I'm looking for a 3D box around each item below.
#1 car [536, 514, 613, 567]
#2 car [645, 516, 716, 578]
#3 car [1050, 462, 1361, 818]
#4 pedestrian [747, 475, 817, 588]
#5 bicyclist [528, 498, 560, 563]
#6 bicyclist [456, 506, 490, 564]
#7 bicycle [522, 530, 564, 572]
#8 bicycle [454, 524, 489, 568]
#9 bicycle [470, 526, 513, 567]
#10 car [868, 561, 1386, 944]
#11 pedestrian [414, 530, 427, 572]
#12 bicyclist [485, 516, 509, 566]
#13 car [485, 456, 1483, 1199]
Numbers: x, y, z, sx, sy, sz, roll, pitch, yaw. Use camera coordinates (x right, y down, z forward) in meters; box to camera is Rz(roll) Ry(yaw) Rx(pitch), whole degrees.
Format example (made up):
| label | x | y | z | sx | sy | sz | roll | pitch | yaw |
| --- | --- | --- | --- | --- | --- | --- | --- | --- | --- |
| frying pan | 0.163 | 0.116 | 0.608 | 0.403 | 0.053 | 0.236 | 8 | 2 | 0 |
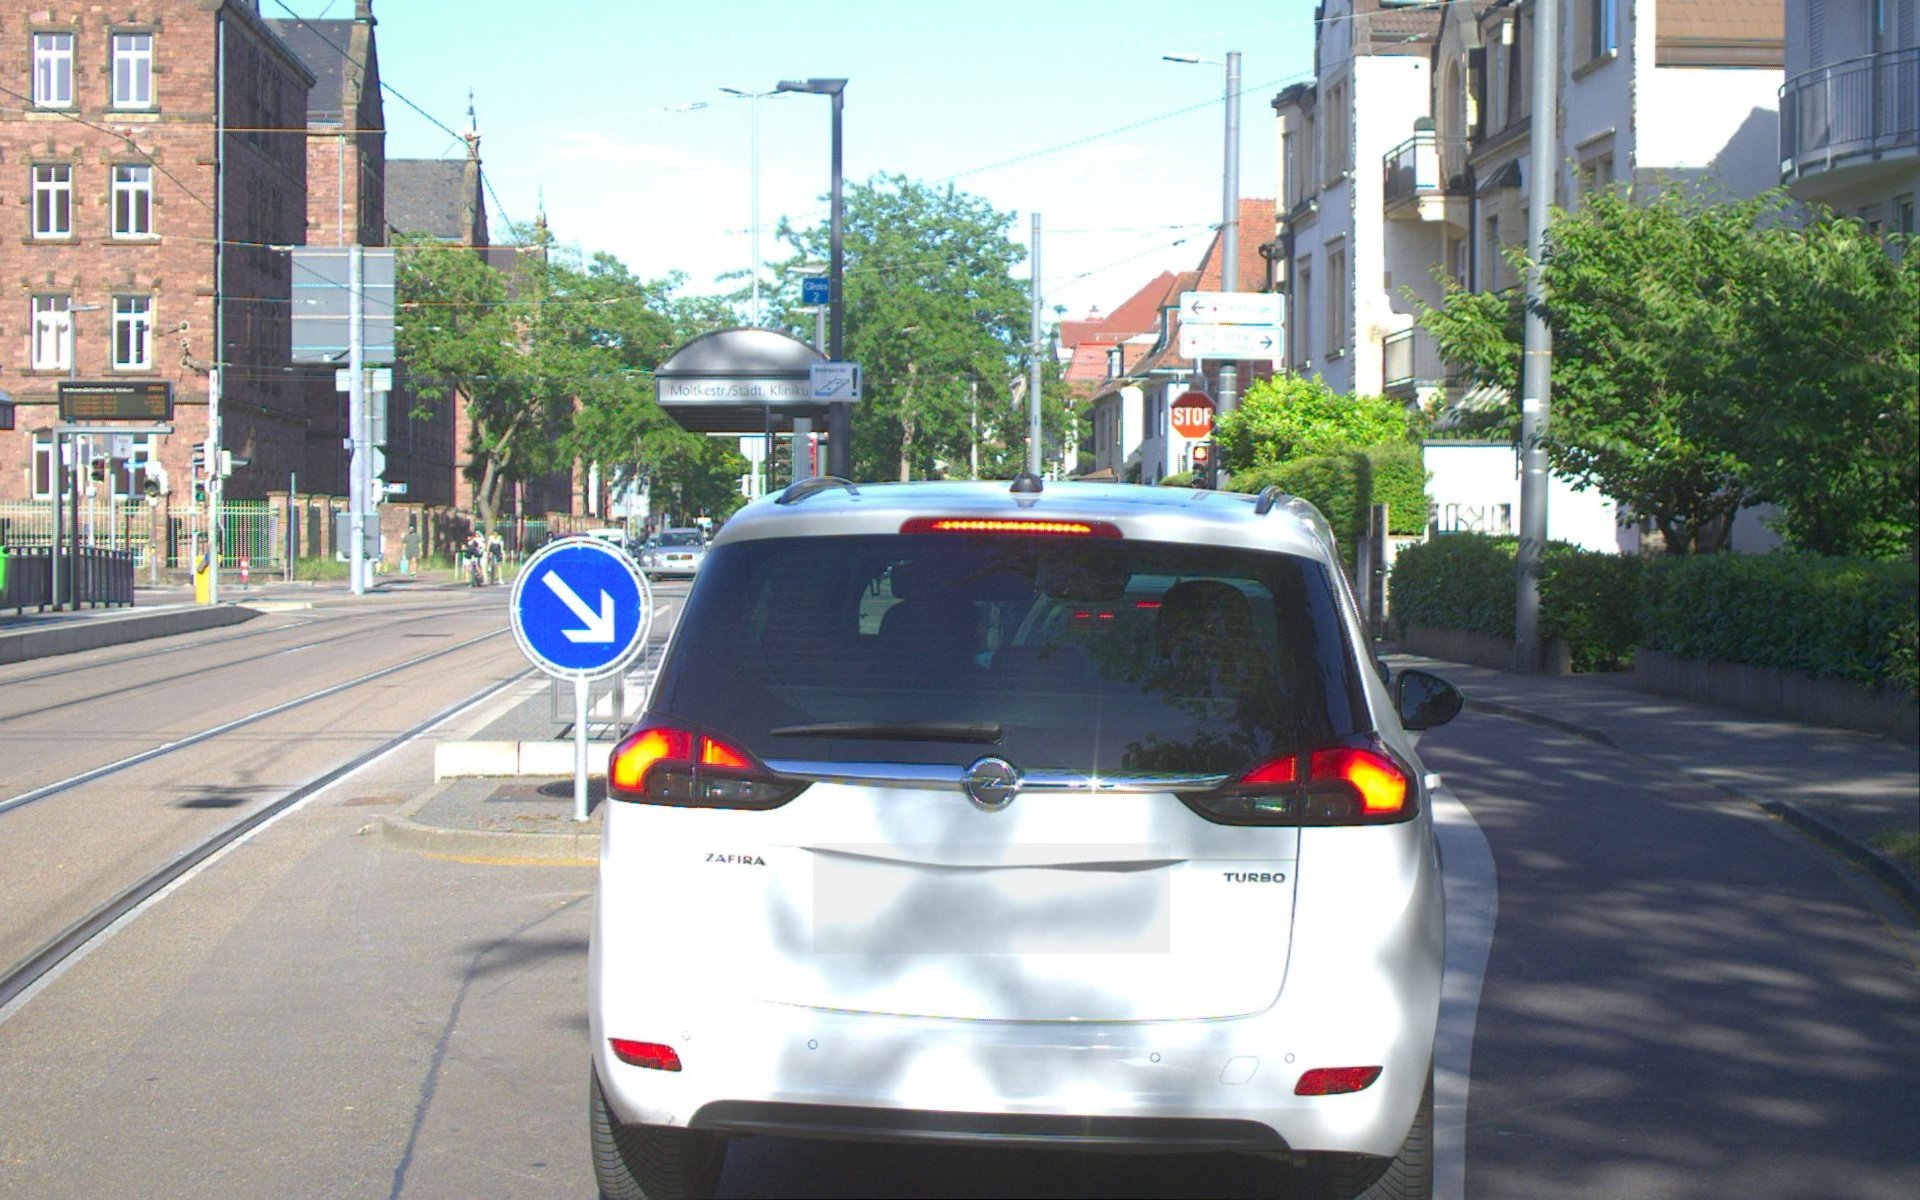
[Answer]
| label | x | y | z | sx | sy | sz | roll | pitch | yaw |
| --- | --- | --- | --- | --- | --- | --- | --- | --- | --- |
| car | -12.842 | -2.000 | 114.735 | 1.994 | 1.716 | 4.000 | 0 | 1 | 2 |
| car | -8.769 | -1.664 | 108.231 | 1.993 | 1.907 | 4.000 | 0 | 1 | -1 |
| car | 1.614 | 0.187 | 21.412 | 1.709 | 2.007 | 3.905 | 0 | 1 | 7 |
| pedestrian | -3.232 | -1.244 | 62.252 | 1.155 | 2.006 | 1.120 | 1 | 2 | -6 |
| bicyclist | -12.876 | -2.146 | 106.487 | 0.950 | 2.007 | 0.824 | 0 | 1 | -5 |
| bicyclist | -14.718 | -1.968 | 103.911 | 0.943 | 1.728 | 0.861 | 0 | 1 | -2 |
| bicycle | -12.910 | -1.528 | 106.501 | 1.148 | 1.292 | 2.861 | 0 | 1 | -4 |
| bicycle | -14.718 | -1.638 | 103.628 | 0.821 | 1.292 | 2.678 | 0 | 1 | -4 |
| bicycle | -14.999 | -1.725 | 110.167 | 1.148 | 1.292 | 2.861 | 0 | 1 | -4 |
| car | 0.883 | 0.561 | 15.280 | 1.994 | 1.437 | 3.999 | 0 | 1 | 7 |
| pedestrian | -18.497 | -1.680 | 117.869 | 0.361 | 1.433 | 0.549 | 0 | 1 | 0 |
| bicyclist | -14.824 | -1.900 | 110.074 | 0.702 | 1.601 | 0.657 | 0 | 1 | -2 |
| car | 0.242 | 0.557 | 8.620 | 1.893 | 1.605 | 4.228 | 0 | -1 | 6 |
